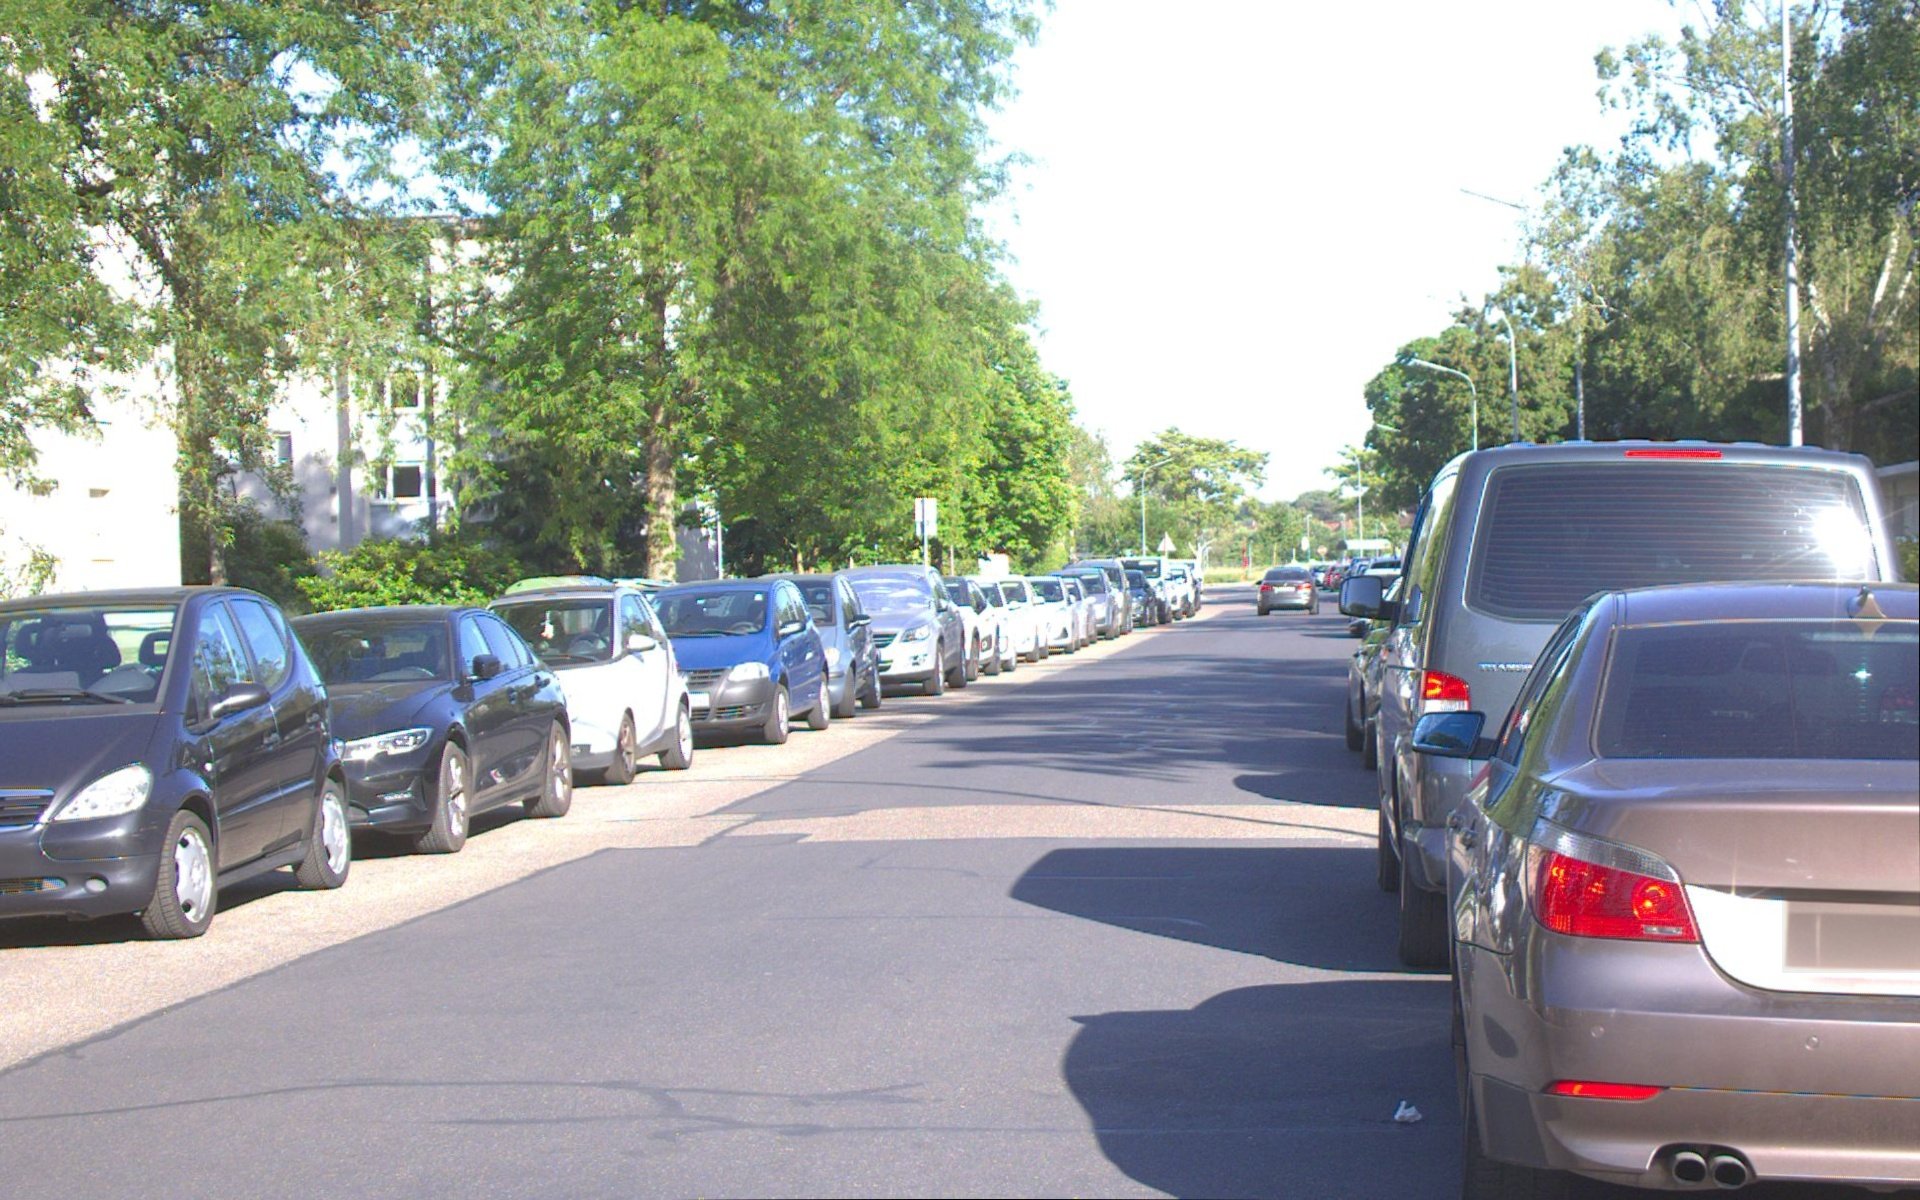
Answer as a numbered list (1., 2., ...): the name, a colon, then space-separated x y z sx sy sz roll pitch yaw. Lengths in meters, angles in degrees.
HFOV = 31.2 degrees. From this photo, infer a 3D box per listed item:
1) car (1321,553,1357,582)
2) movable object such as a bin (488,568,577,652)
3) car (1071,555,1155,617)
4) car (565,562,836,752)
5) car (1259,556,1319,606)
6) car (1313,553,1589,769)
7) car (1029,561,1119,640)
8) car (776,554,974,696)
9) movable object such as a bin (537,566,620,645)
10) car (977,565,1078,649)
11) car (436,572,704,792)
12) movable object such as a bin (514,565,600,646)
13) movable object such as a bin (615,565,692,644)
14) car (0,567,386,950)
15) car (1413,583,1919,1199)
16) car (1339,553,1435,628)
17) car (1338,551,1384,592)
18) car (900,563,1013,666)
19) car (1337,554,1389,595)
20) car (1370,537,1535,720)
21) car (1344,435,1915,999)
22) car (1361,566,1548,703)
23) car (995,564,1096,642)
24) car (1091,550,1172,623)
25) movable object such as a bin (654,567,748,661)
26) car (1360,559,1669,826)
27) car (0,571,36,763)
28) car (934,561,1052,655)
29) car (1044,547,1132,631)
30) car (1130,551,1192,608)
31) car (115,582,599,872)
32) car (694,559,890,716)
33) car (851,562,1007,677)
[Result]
1. car: 20.860 -1.795 189.138 1.796 1.543 3.951 0 1 4
2. movable object such as a bin: -7.547 0.165 60.736 1.178 1.416 1.462 1 1 8
3. car: 4.111 -0.396 91.850 1.747 1.528 4.137 -2 0 9
4. car: -2.409 0.492 32.880 1.754 1.600 3.967 -3 0 7
5. car: 10.080 -0.601 105.565 1.680 1.508 4.104 1 1 4
6. car: 3.732 0.409 26.779 1.732 1.485 4.501 -2 1 4
7. car: 2.551 -0.013 76.307 1.710 1.595 3.985 -4 0 5
8. car: -1.020 0.272 43.610 1.903 1.634 4.348 -2 0 6
9. movable object such as a bin: -7.081 0.088 63.927 1.178 1.416 1.462 1 1 8
10. car: 1.326 0.107 66.053 1.687 1.500 3.817 -2 1 5
11. car: -3.065 0.611 27.558 1.445 1.569 3.142 -3 0 5
12. movable object such as a bin: -7.310 0.099 62.424 1.178 1.416 1.462 1 1 8
13. movable object such as a bin: -5.735 0.077 64.353 1.134 1.416 1.360 1 1 8
14. car: -4.099 0.681 16.363 1.754 1.569 3.720 -3 0 5
15. car: 2.071 0.685 8.740 1.801 1.414 4.634 0 1 8
16. car: 8.919 -0.219 72.056 1.753 1.508 4.104 1 1 4
17. car: 17.459 -1.240 149.788 1.796 1.780 3.951 0 1 4
18. car: -0.051 0.203 53.913 1.662 1.508 3.538 -2 0 0
19. car: 15.686 -0.995 133.949 1.796 1.556 3.951 0 1 4
20. car: 4.803 0.251 33.772 1.489 1.712 2.582 0 1 6
21. car: 2.559 0.366 14.185 1.853 1.927 4.704 0 1 5
22. car: 5.380 0.339 37.783 1.732 1.399 3.895 0 1 4
23. car: 1.810 0.033 71.582 1.687 1.460 4.525 -3 0 6
24. car: 4.921 -0.415 97.991 1.915 1.956 5.086 -2 0 6
25. movable object such as a bin: -3.955 0.208 52.546 1.136 1.378 1.441 1 1 8
26. car: 3.348 0.495 21.337 1.623 1.485 4.035 0 1 5
27. car: -8.507 0.550 26.226 1.570 1.520 3.999 0 1 4
28. car: 0.608 0.115 60.388 1.687 1.529 3.890 -2 0 6
29. car: 3.118 -0.291 82.747 1.854 1.886 4.417 -2 0 5
30. car: 6.549 -0.682 111.710 1.747 1.726 4.004 -2 0 6
31. car: -3.572 0.695 21.246 1.754 1.476 4.537 -3 0 5
32. car: -1.818 0.384 38.230 1.636 1.600 3.534 -2 0 5
33. car: -0.402 0.246 49.268 1.663 1.508 3.944 -2 0 7
